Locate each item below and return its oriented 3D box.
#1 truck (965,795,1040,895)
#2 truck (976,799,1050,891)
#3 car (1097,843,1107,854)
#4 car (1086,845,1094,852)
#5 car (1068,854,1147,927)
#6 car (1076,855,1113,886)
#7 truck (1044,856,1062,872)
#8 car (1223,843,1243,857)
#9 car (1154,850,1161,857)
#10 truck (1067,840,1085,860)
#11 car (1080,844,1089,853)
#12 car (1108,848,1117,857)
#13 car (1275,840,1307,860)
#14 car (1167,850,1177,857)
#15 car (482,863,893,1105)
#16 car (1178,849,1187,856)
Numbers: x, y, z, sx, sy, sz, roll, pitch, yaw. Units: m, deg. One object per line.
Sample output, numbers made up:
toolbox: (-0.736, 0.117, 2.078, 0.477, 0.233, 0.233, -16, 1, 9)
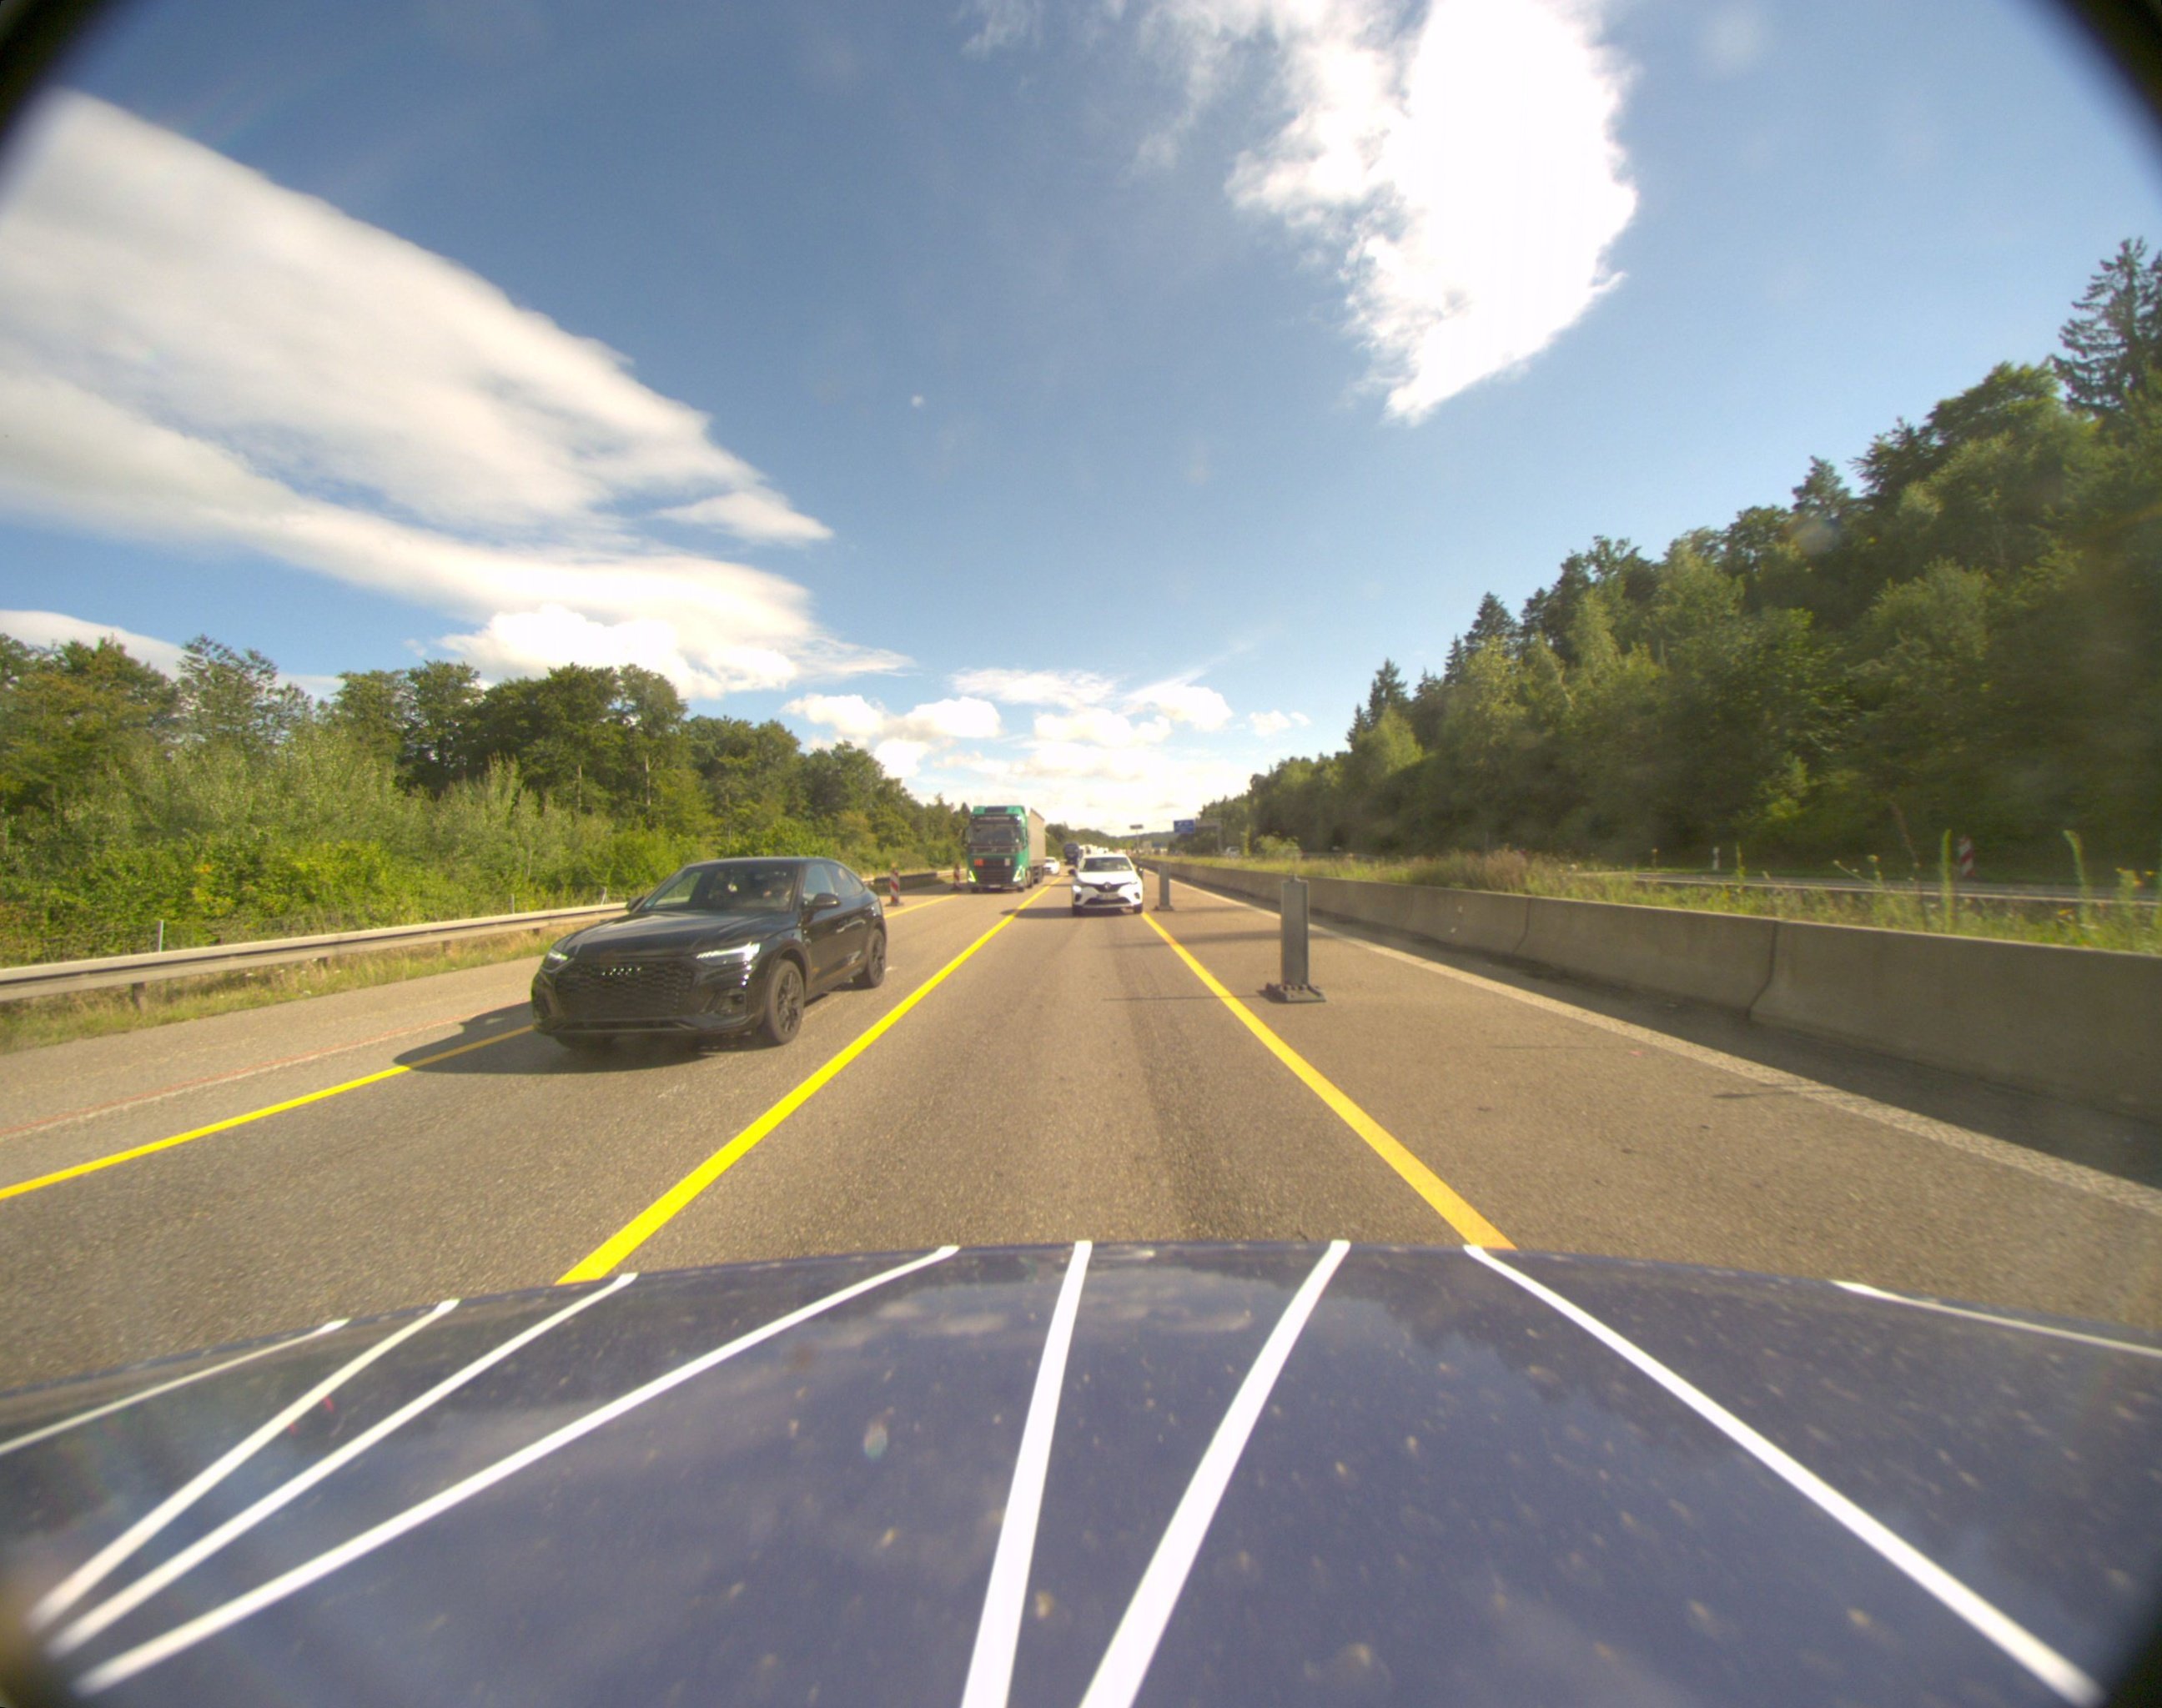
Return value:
truck: (-3.490, -0.419, 35.324, 2.528, 4.076, 6.855, -2, 1, 1)
truck: (-3.402, -0.413, 41.824, 2.470, 4.119, 14.210, -2, 0, 1)
car: (4.066, -1.079, 147.456, 1.998, 2.002, 4.000, -2, 1, 1)
car: (2.178, -1.344, 183.222, 1.750, 1.787, 3.999, -2, 1, 0)
car: (0.649, 0.849, 19.743, 1.782, 1.593, 4.017, -2, 1, 1)
car: (0.705, 0.830, 39.871, 1.782, 1.468, 4.017, -2, 1, 1)
truck: (-2.336, 0.846, 64.364, 1.468, 1.215, 3.087, -2, 1, -2)
car: (20.772, -0.535, 104.065, 1.782, 1.775, 4.364, -2, 1, 1)
car: (23.949, -0.230, 237.638, 1.782, 1.891, 4.617, -2, 1, 1)
truck: (-0.837, -0.700, 128.332, 2.576, 3.167, 6.803, -2, 1, 3)
car: (0.745, -1.178, 160.101, 1.750, 1.787, 3.999, -2, 1, 0)
car: (7.240, -0.376, 173.781, 1.998, 2.002, 4.000, -2, 1, 3)
car: (19.834, -0.355, 71.960, 1.782, 1.775, 4.364, -2, 1, 1)
car: (20.797, -0.210, 173.192, 1.782, 1.448, 4.104, -2, 1, 1)
car: (-3.377, 0.974, 7.645, 1.782, 1.593, 4.293, -2, 1, 1)
car: (26.694, -0.340, 199.850, 1.782, 1.679, 4.617, -2, 1, 1)
